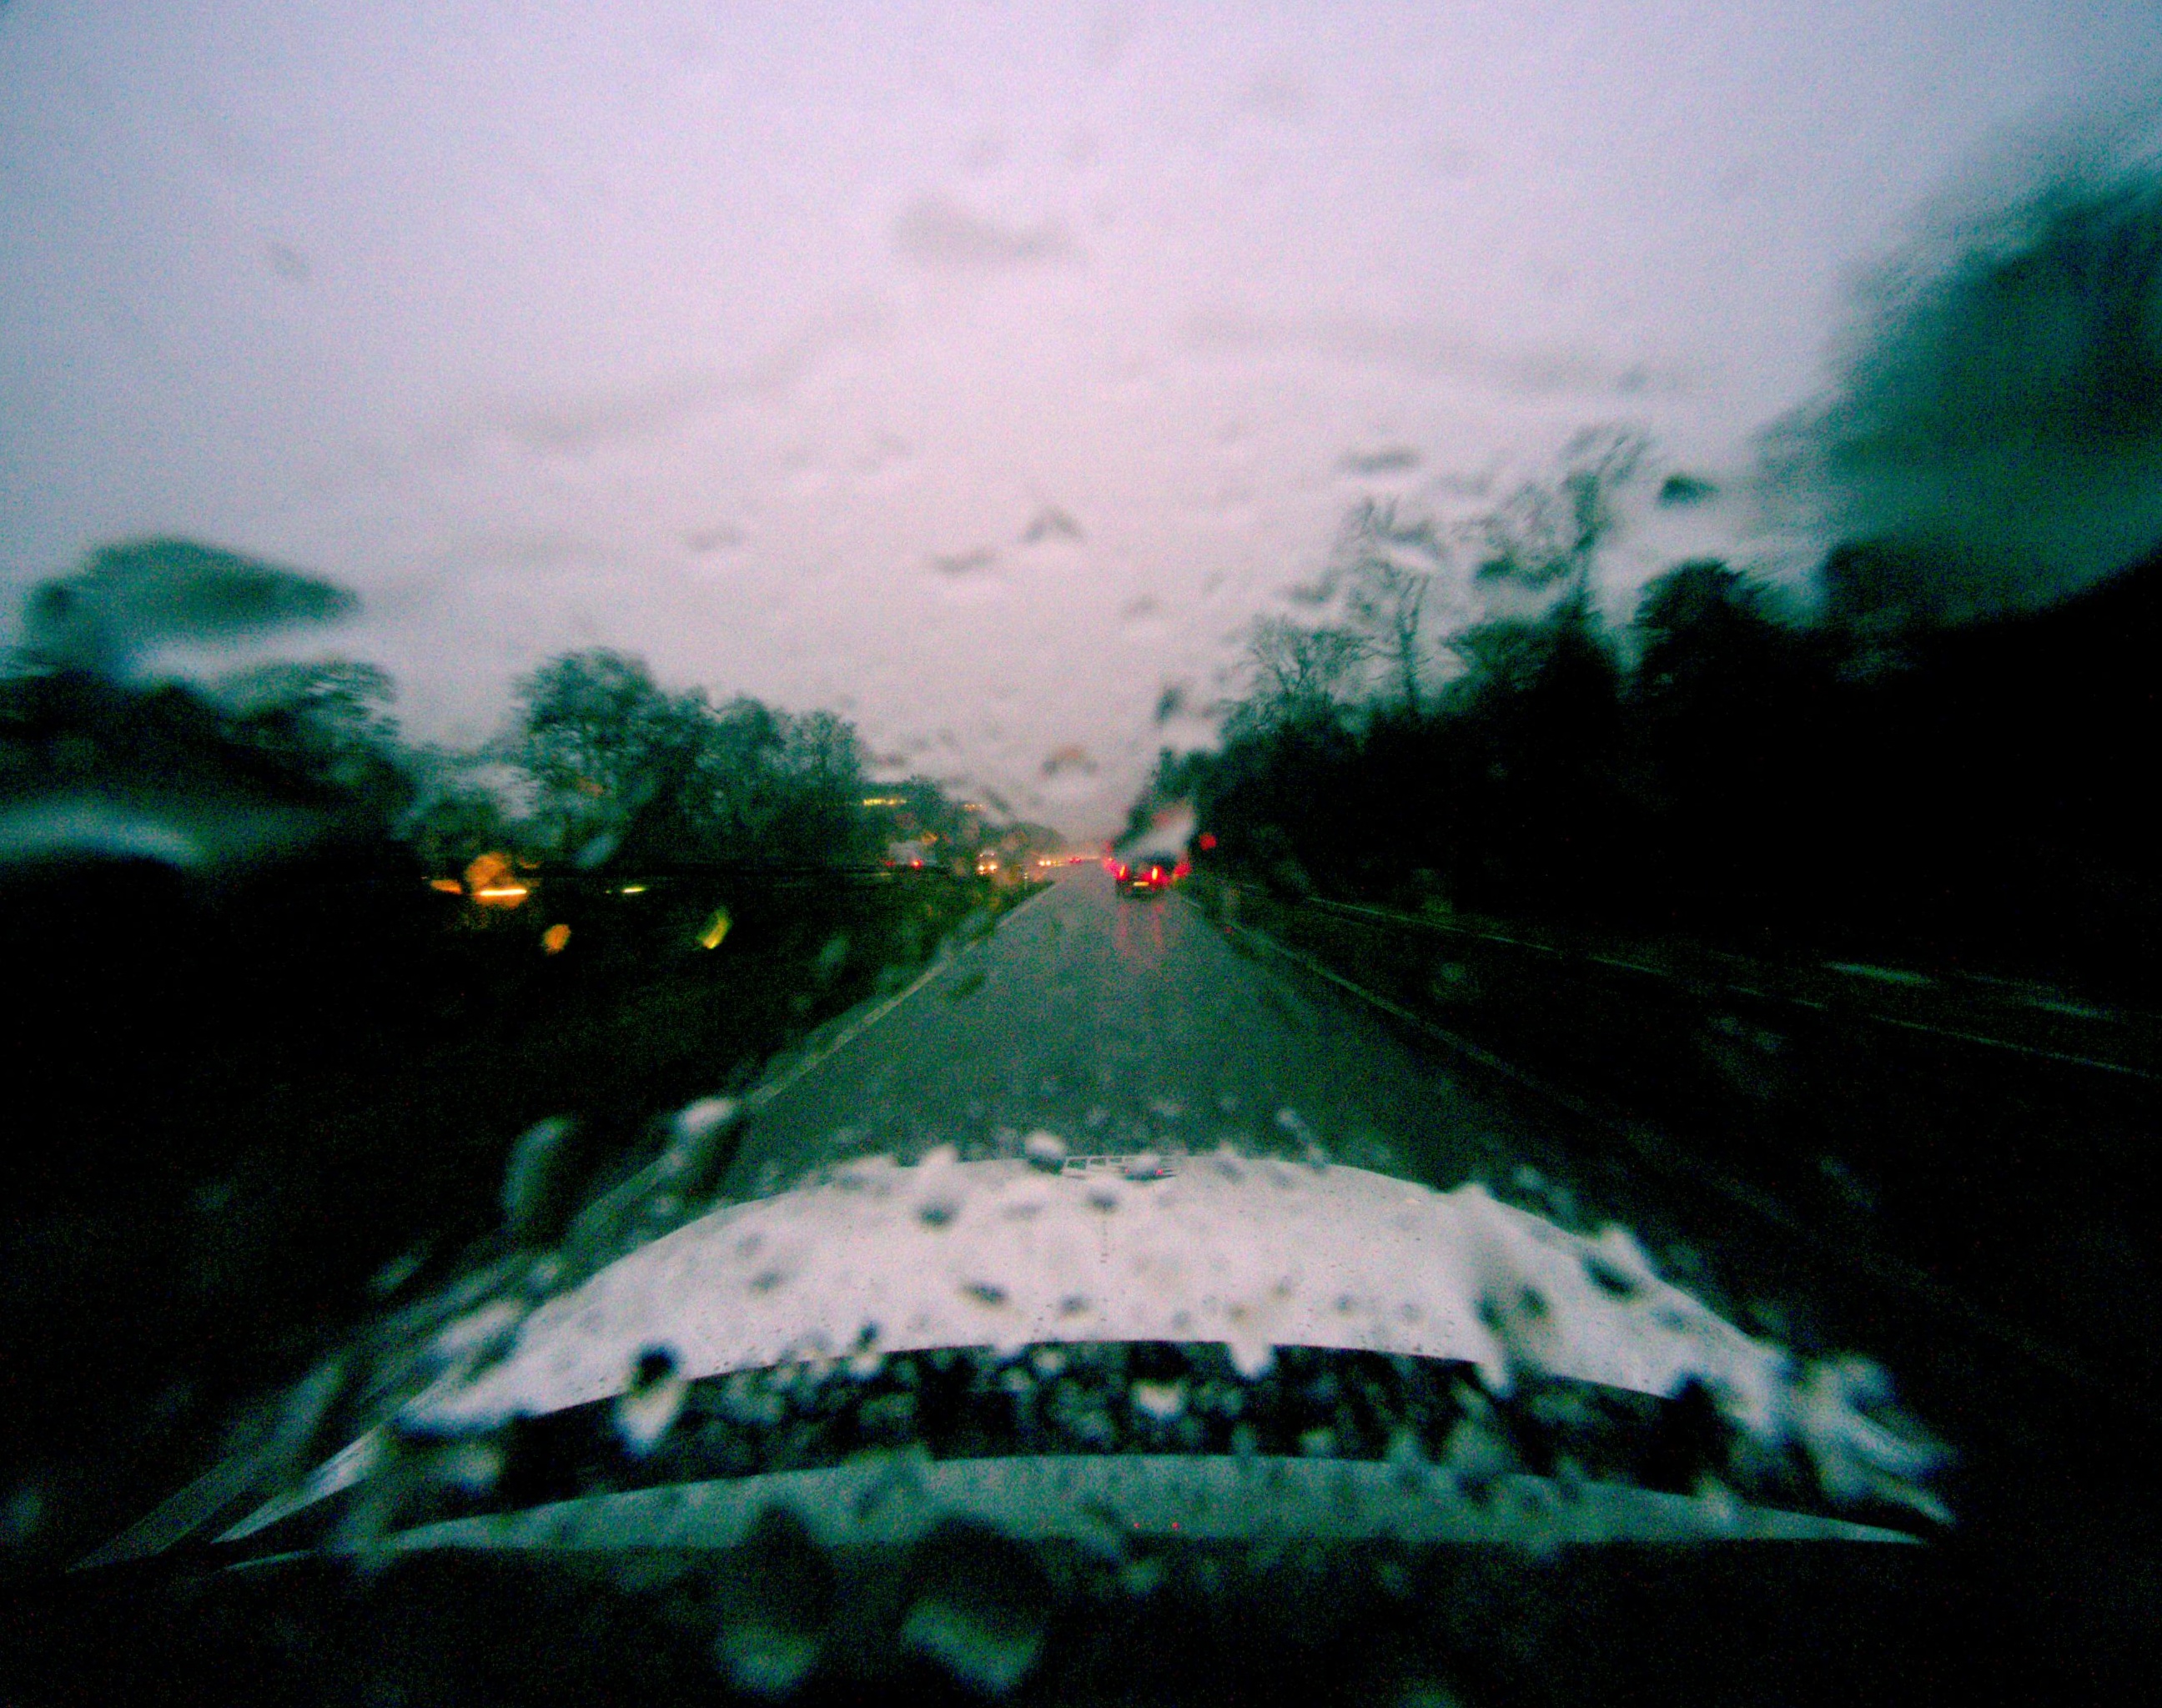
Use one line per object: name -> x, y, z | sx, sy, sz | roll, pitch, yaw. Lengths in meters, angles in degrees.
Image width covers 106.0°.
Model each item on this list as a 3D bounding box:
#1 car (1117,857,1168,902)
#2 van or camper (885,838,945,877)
car -> 2.255, 0.892, 30.422 | 1.725, 1.429, 3.768 | 4, 0, 3
van or camper -> -11.004, 0.259, 54.336 | 2.256, 2.413, 5.589 | -1, 0, 6
